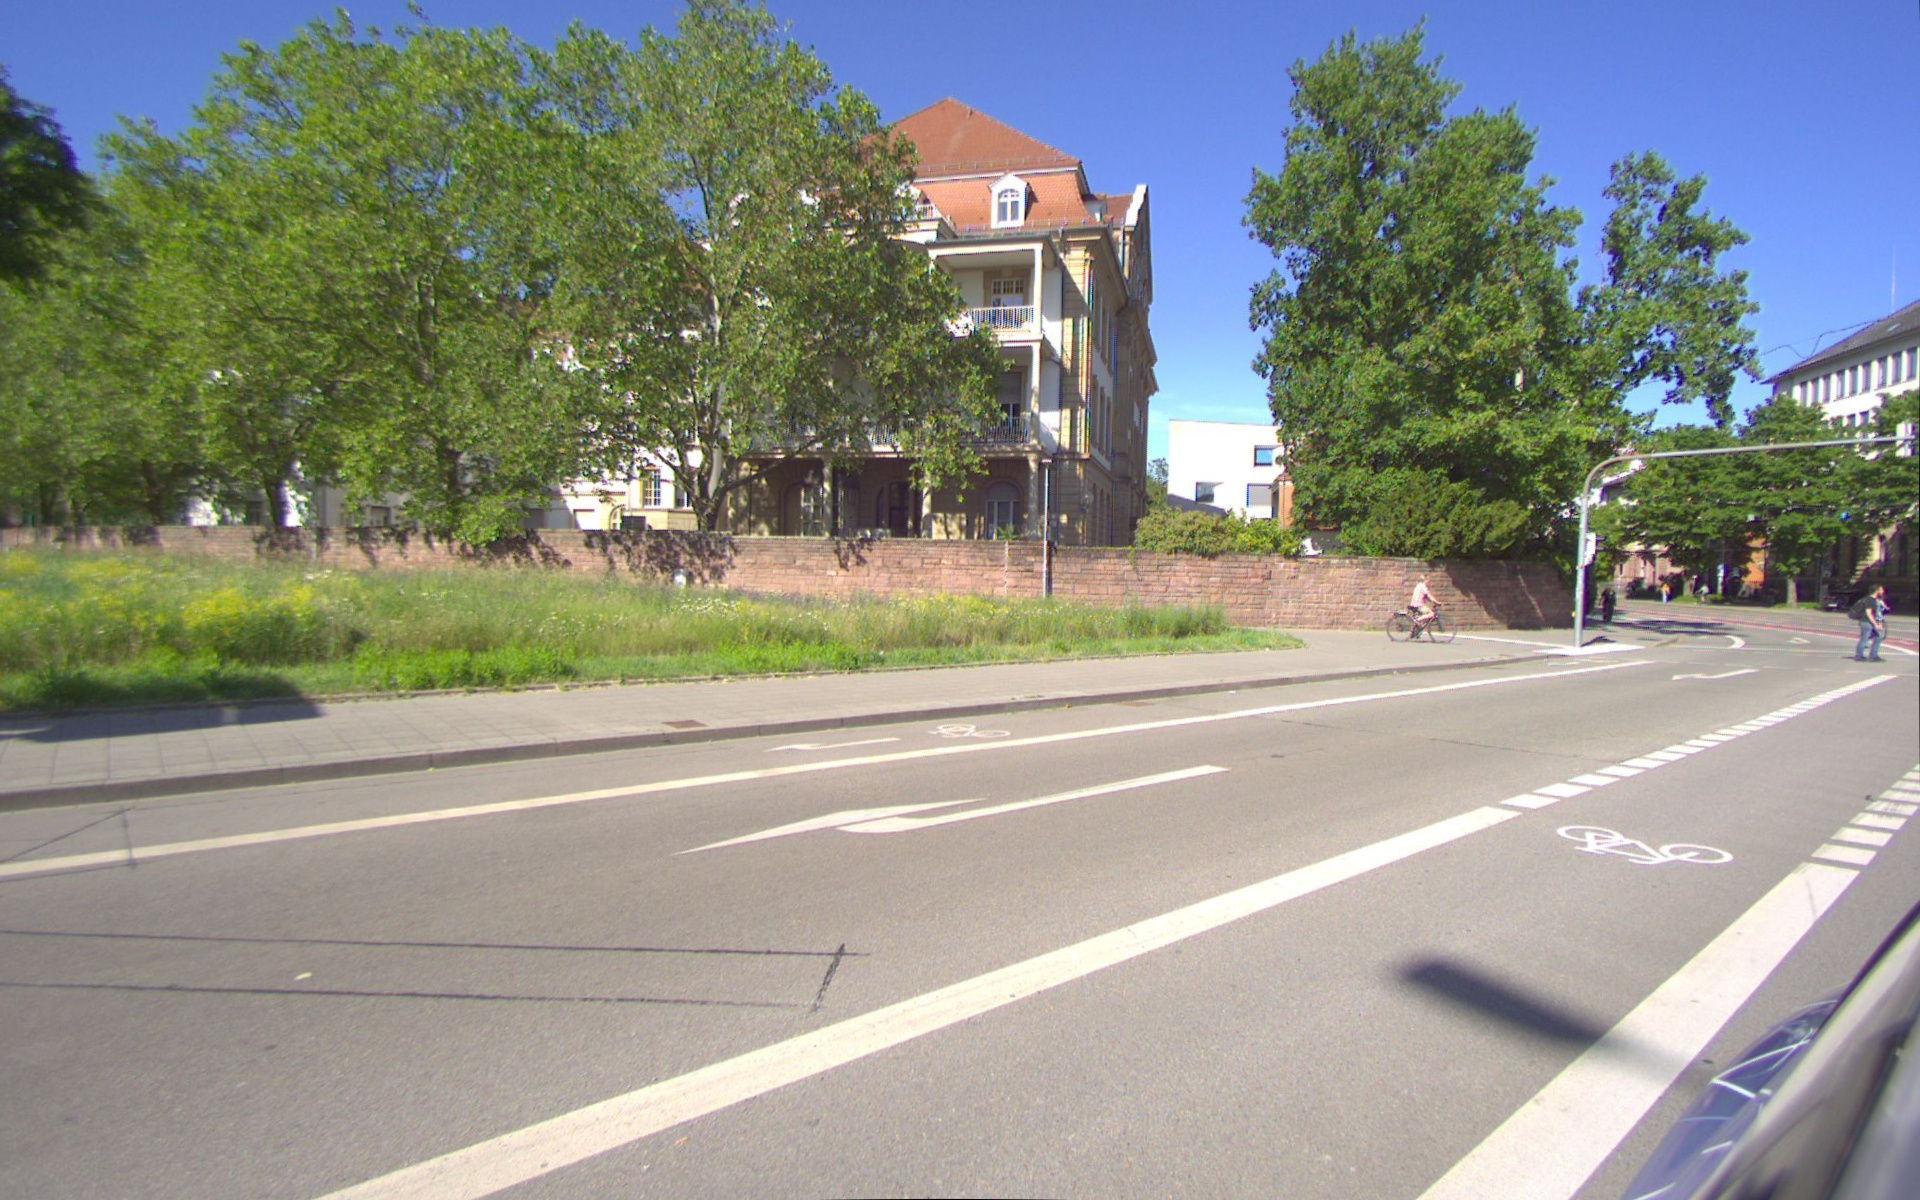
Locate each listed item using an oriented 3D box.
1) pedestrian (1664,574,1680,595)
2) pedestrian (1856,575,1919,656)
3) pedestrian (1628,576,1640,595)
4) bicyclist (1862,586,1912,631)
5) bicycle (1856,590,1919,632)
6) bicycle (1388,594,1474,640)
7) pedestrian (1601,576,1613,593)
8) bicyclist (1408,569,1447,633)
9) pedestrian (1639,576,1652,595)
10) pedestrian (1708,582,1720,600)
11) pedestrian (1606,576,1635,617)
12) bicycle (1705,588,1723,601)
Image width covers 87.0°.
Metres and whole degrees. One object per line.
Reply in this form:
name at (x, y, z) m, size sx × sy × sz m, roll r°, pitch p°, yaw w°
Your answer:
pedestrian at (63.959, -1.420, 90.891) m, size 0.745 × 1.835 × 0.978 m, roll 1°, pitch 1°, yaw 9°
pedestrian at (22.367, 0.354, 24.417) m, size 0.719 × 1.872 × 0.960 m, roll 0°, pitch 3°, yaw -42°
pedestrian at (66.363, -1.424, 99.633) m, size 0.746 × 1.836 × 0.976 m, roll 1°, pitch -2°, yaw 14°
bicyclist at (33.524, 0.290, 36.628) m, size 0.859 × 1.579 × 1.272 m, roll 2°, pitch 2°, yaw 20°
bicycle at (33.482, 0.378, 36.503) m, size 0.753 × 1.385 × 2.720 m, roll 2°, pitch 2°, yaw 20°
bicycle at (12.107, 0.423, 26.081) m, size 1.857 × 1.083 × 0.722 m, roll 3°, pitch 2°, yaw 14°
pedestrian at (69.794, -1.702, 109.170) m, size 0.745 × 1.835 × 0.978 m, roll 1°, pitch 1°, yaw 10°
bicyclist at (12.038, 0.011, 26.099) m, size 0.766 × 1.626 × 0.719 m, roll 1°, pitch 1°, yaw 14°
pedestrian at (67.356, -1.427, 99.443) m, size 0.746 × 1.836 × 0.975 m, roll 1°, pitch -2°, yaw 15°
pedestrian at (59.677, -0.733, 80.074) m, size 0.589 × 1.420 × 0.641 m, roll 0°, pitch 0°, yaw 21°
pedestrian at (28.554, -0.164, 43.758) m, size 0.935 × 1.742 × 0.983 m, roll 2°, pitch 2°, yaw 37°
bicycle at (59.714, -0.458, 80.145) m, size 0.593 × 1.019 × 1.975 m, roll 0°, pitch 1°, yaw 20°
